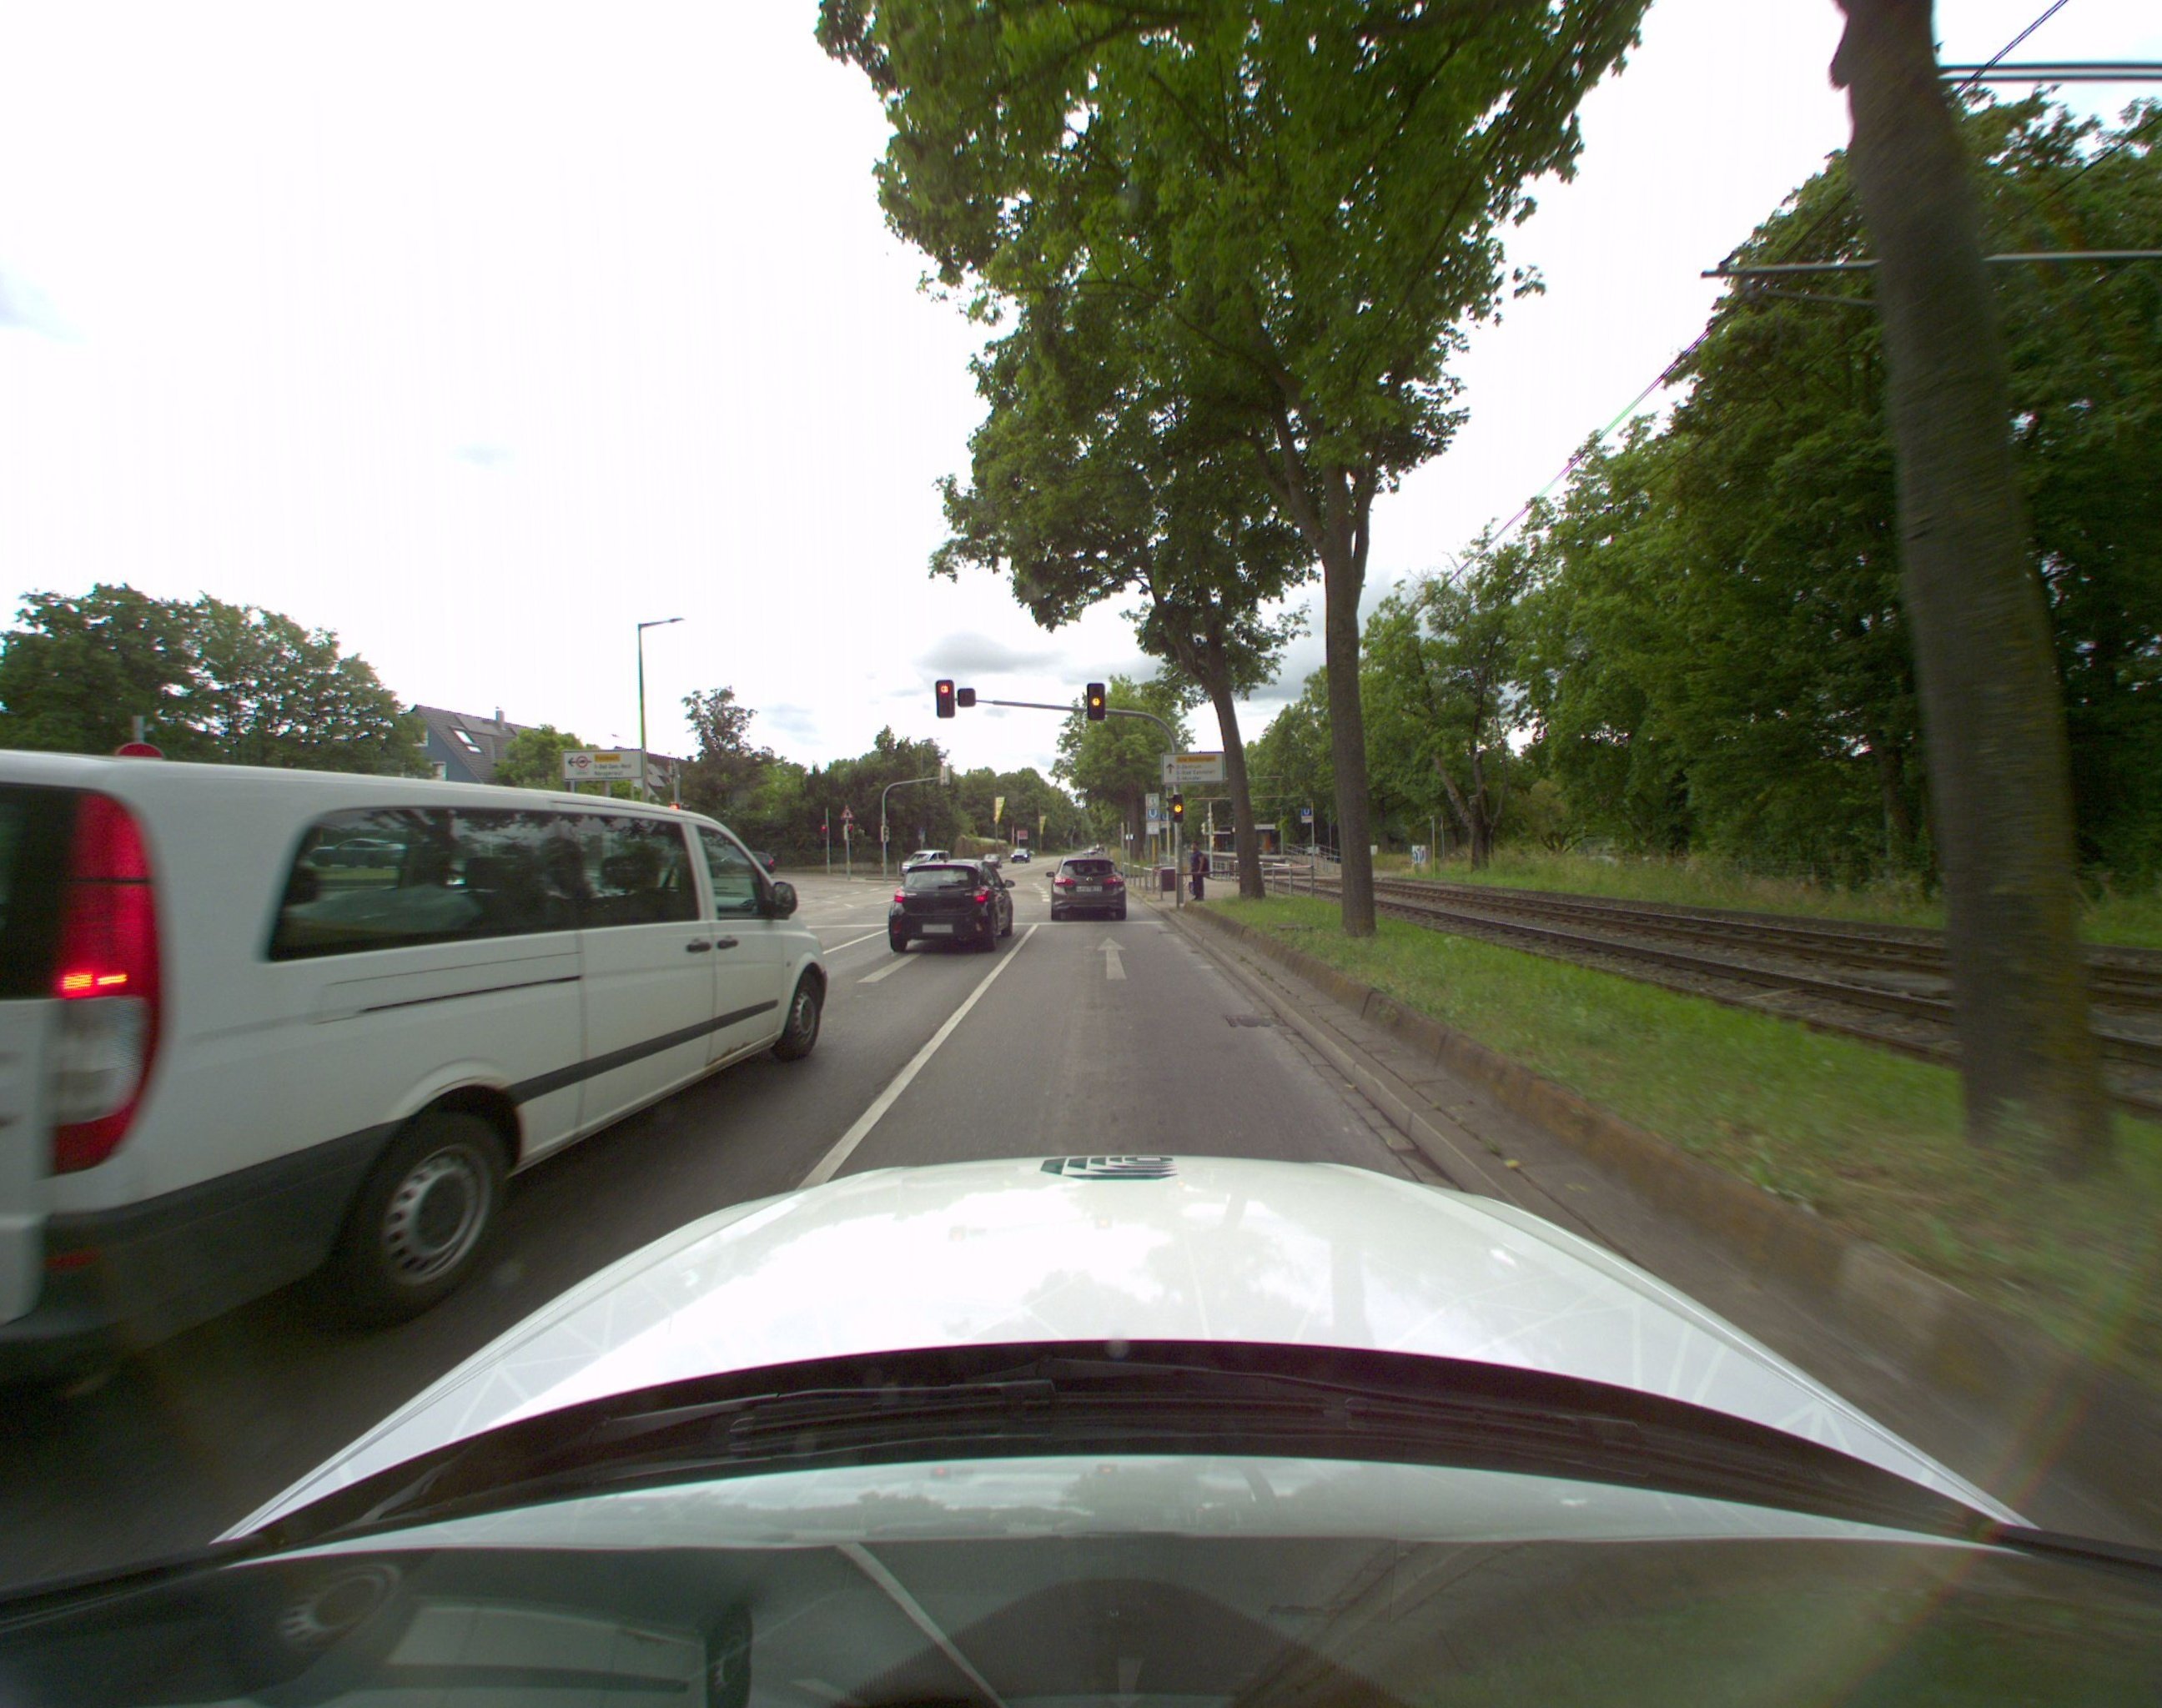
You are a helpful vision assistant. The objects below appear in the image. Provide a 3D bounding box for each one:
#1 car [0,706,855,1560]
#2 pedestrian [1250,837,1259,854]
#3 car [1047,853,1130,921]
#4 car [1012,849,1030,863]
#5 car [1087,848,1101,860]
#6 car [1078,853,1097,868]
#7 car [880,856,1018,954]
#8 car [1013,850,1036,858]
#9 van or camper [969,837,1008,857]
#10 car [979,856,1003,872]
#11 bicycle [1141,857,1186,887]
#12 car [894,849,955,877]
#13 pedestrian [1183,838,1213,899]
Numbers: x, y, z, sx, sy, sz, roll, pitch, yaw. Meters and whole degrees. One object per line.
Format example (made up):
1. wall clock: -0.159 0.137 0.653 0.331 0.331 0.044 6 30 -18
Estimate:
1. car: -3.006 0.612 4.417 1.900 1.843 5.284 -1 0 2
2. pedestrian: 16.034 -0.805 75.080 0.715 1.511 0.725 1 -1 4
3. car: 0.283 0.746 20.350 1.829 1.528 3.933 0 0 4
4. car: -7.478 0.253 101.426 1.896 1.678 5.079 -1 0 0
5. car: 1.618 0.014 101.212 1.496 1.528 3.675 0 0 4
6. car: 0.657 0.617 83.029 1.703 1.475 3.675 0 0 4
7. car: -2.166 0.791 14.360 1.697 1.480 3.669 -1 0 2
8. car: -11.038 -0.064 158.296 4.361 1.441 1.961 1 0 -1
9. van or camper: -17.927 -1.359 158.250 7.115 3.370 2.798 4 0 1
10. car: -8.476 0.899 76.850 1.736 1.464 4.342 1 0 0
11. bicycle: 3.325 0.728 32.951 1.670 1.090 0.601 -4 0 -2
12. car: -10.657 0.583 55.904 1.925 1.874 4.566 0 0 22
13. pedestrian: 3.463 0.420 24.229 0.748 1.737 0.841 -4 -1 6
